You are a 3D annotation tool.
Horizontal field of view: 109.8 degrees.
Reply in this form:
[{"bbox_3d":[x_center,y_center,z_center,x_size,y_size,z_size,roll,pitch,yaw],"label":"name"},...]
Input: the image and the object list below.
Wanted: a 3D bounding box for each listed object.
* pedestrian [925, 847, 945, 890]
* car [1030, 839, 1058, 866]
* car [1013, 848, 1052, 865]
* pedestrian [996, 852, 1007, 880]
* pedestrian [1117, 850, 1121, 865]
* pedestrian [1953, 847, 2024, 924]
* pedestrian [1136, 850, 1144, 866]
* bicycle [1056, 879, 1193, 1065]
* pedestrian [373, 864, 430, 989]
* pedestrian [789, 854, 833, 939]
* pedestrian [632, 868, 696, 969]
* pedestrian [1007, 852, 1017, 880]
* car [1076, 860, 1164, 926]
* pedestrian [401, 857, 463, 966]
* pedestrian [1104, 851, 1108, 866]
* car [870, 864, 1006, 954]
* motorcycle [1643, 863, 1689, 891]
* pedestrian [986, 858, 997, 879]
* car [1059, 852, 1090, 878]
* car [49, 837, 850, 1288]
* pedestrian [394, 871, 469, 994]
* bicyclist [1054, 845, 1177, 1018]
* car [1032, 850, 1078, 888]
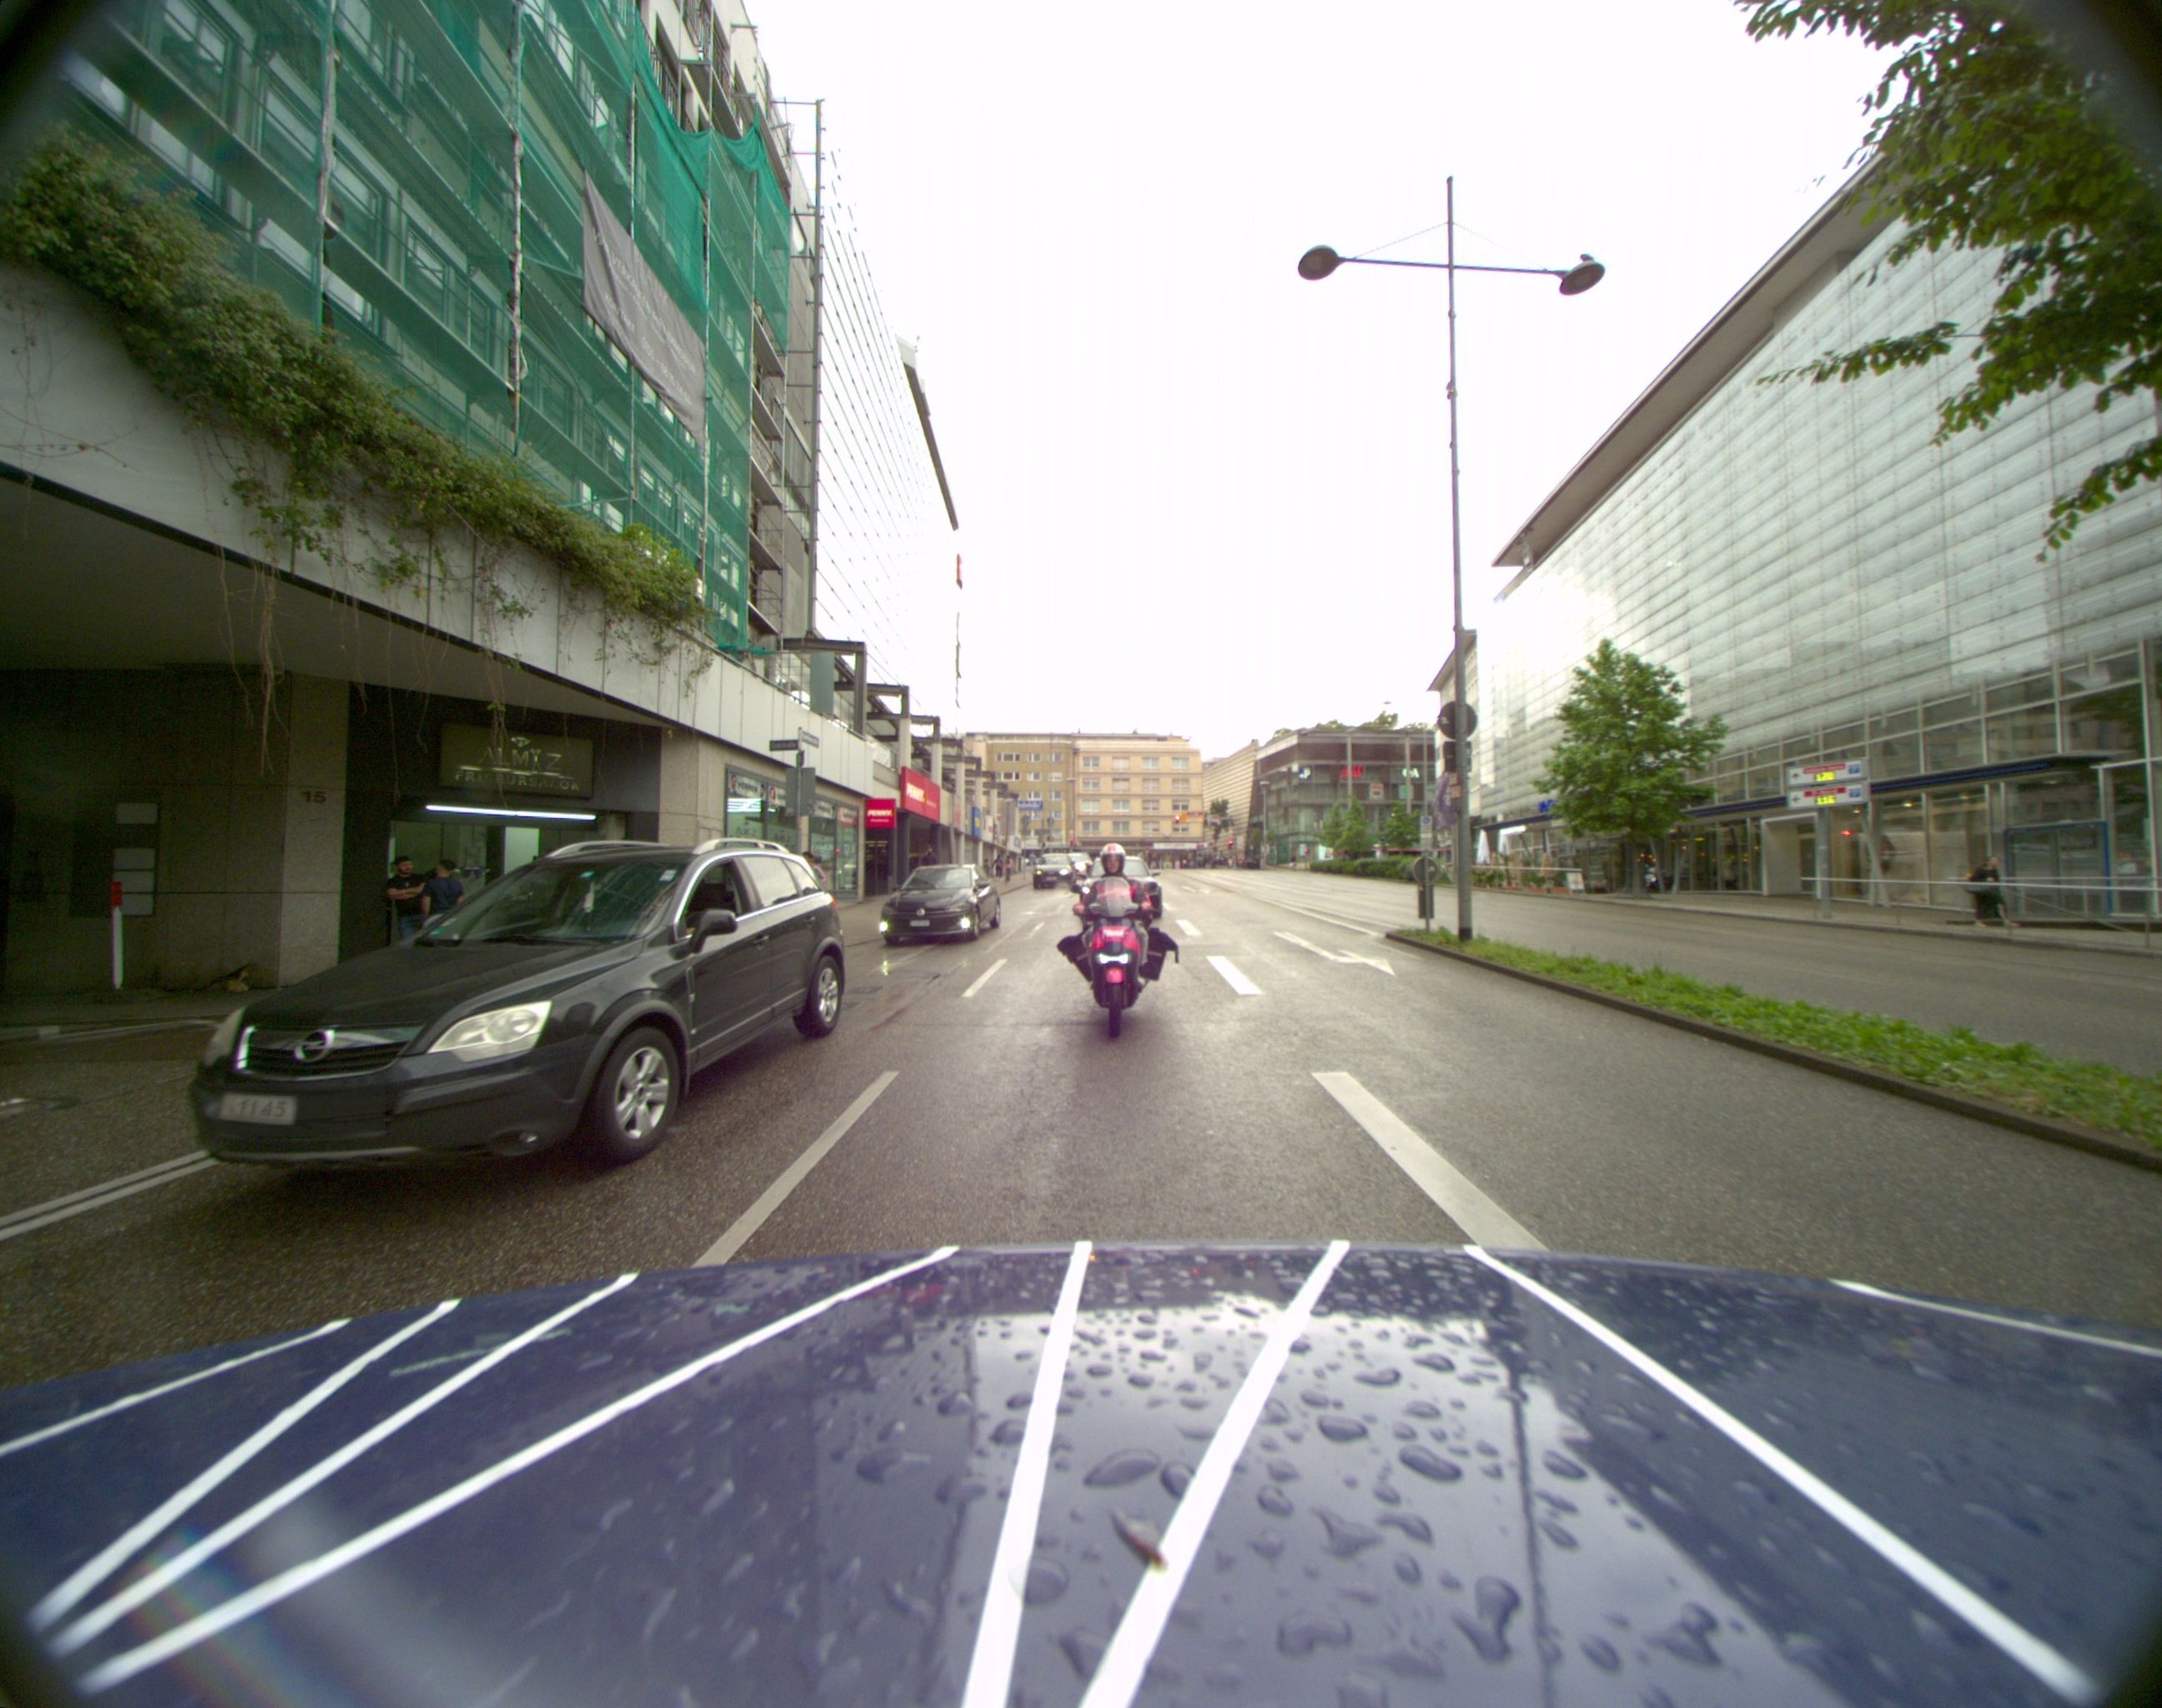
[{"bbox_3d":[-5.714,0.564,29.779,0.578,1.669,0.511,1,2,21],"label":"pedestrian"},{"bbox_3d":[-2.848,-0.154,58.974,1.605,2.002,3.401,-2,1,7],"label":"car"},{"bbox_3d":[-5.865,0.343,91.213,4.587,2.002,1.998,0,1,-7],"label":"car"},{"bbox_3d":[-4.320,0.644,41.390,0.510,1.492,0.579,0,2,-1],"label":"pedestrian"},{"bbox_3d":[4.257,0.412,85.906,0.428,1.620,0.602,0,1,3],"label":"pedestrian"},{"bbox_3d":[19.916,0.672,16.684,0.635,1.628,0.790,-2,2,8],"label":"pedestrian"},{"bbox_3d":[6.618,0.443,85.228,0.627,1.764,0.687,-3,2,-20],"label":"pedestrian"},{"bbox_3d":[0.352,0.973,7.422,1.034,1.279,2.948,-2,1,0],"label":"bicycle"},{"bbox_3d":[-9.642,1.003,10.783,0.466,1.698,0.484,-1,2,42],"label":"pedestrian"},{"bbox_3d":[-5.323,0.824,15.014,0.677,1.618,0.579,0,2,-6],"label":"pedestrian"},{"bbox_3d":[-7.149,1.083,13.056,0.639,1.633,0.733,-2,2,-3],"label":"pedestrian"},{"bbox_3d":[-3.720,0.657,40.877,0.510,1.492,0.579,0,2,-1],"label":"pedestrian"},{"bbox_3d":[0.936,0.877,18.786,1.890,1.391,4.164,-2,0,2],"label":"car"},{"bbox_3d":[-11.265,0.960,13.185,0.771,1.805,0.745,1,1,44],"label":"pedestrian"},{"bbox_3d":[2.784,0.457,83.917,0.428,1.620,0.602,0,1,5],"label":"pedestrian"},{"bbox_3d":[-2.713,0.989,15.358,1.759,1.495,4.165,-2,-1,2],"label":"car"},{"bbox_3d":[28.078,1.101,36.465,1.707,1.319,0.620,0,1,1],"label":"motorcycle"},{"bbox_3d":[-4.896,0.784,41.640,0.510,1.160,0.579,0,2,-1],"label":"pedestrian"},{"bbox_3d":[-0.361,0.661,47.887,1.675,1.520,4.165,-2,-1,2],"label":"car"},{"bbox_3d":[-3.170,0.864,5.114,1.764,1.755,4.165,-2,-1,2],"label":"car"},{"bbox_3d":[-8.931,1.050,10.478,0.640,1.586,0.576,-3,2,-32],"label":"pedestrian"},{"bbox_3d":[0.316,0.700,7.292,1.063,1.534,0.825,-2,2,0],"label":"bicyclist"},{"bbox_3d":[-1.168,0.664,35.994,1.841,1.598,4.164,-2,1,2],"label":"car"}]
